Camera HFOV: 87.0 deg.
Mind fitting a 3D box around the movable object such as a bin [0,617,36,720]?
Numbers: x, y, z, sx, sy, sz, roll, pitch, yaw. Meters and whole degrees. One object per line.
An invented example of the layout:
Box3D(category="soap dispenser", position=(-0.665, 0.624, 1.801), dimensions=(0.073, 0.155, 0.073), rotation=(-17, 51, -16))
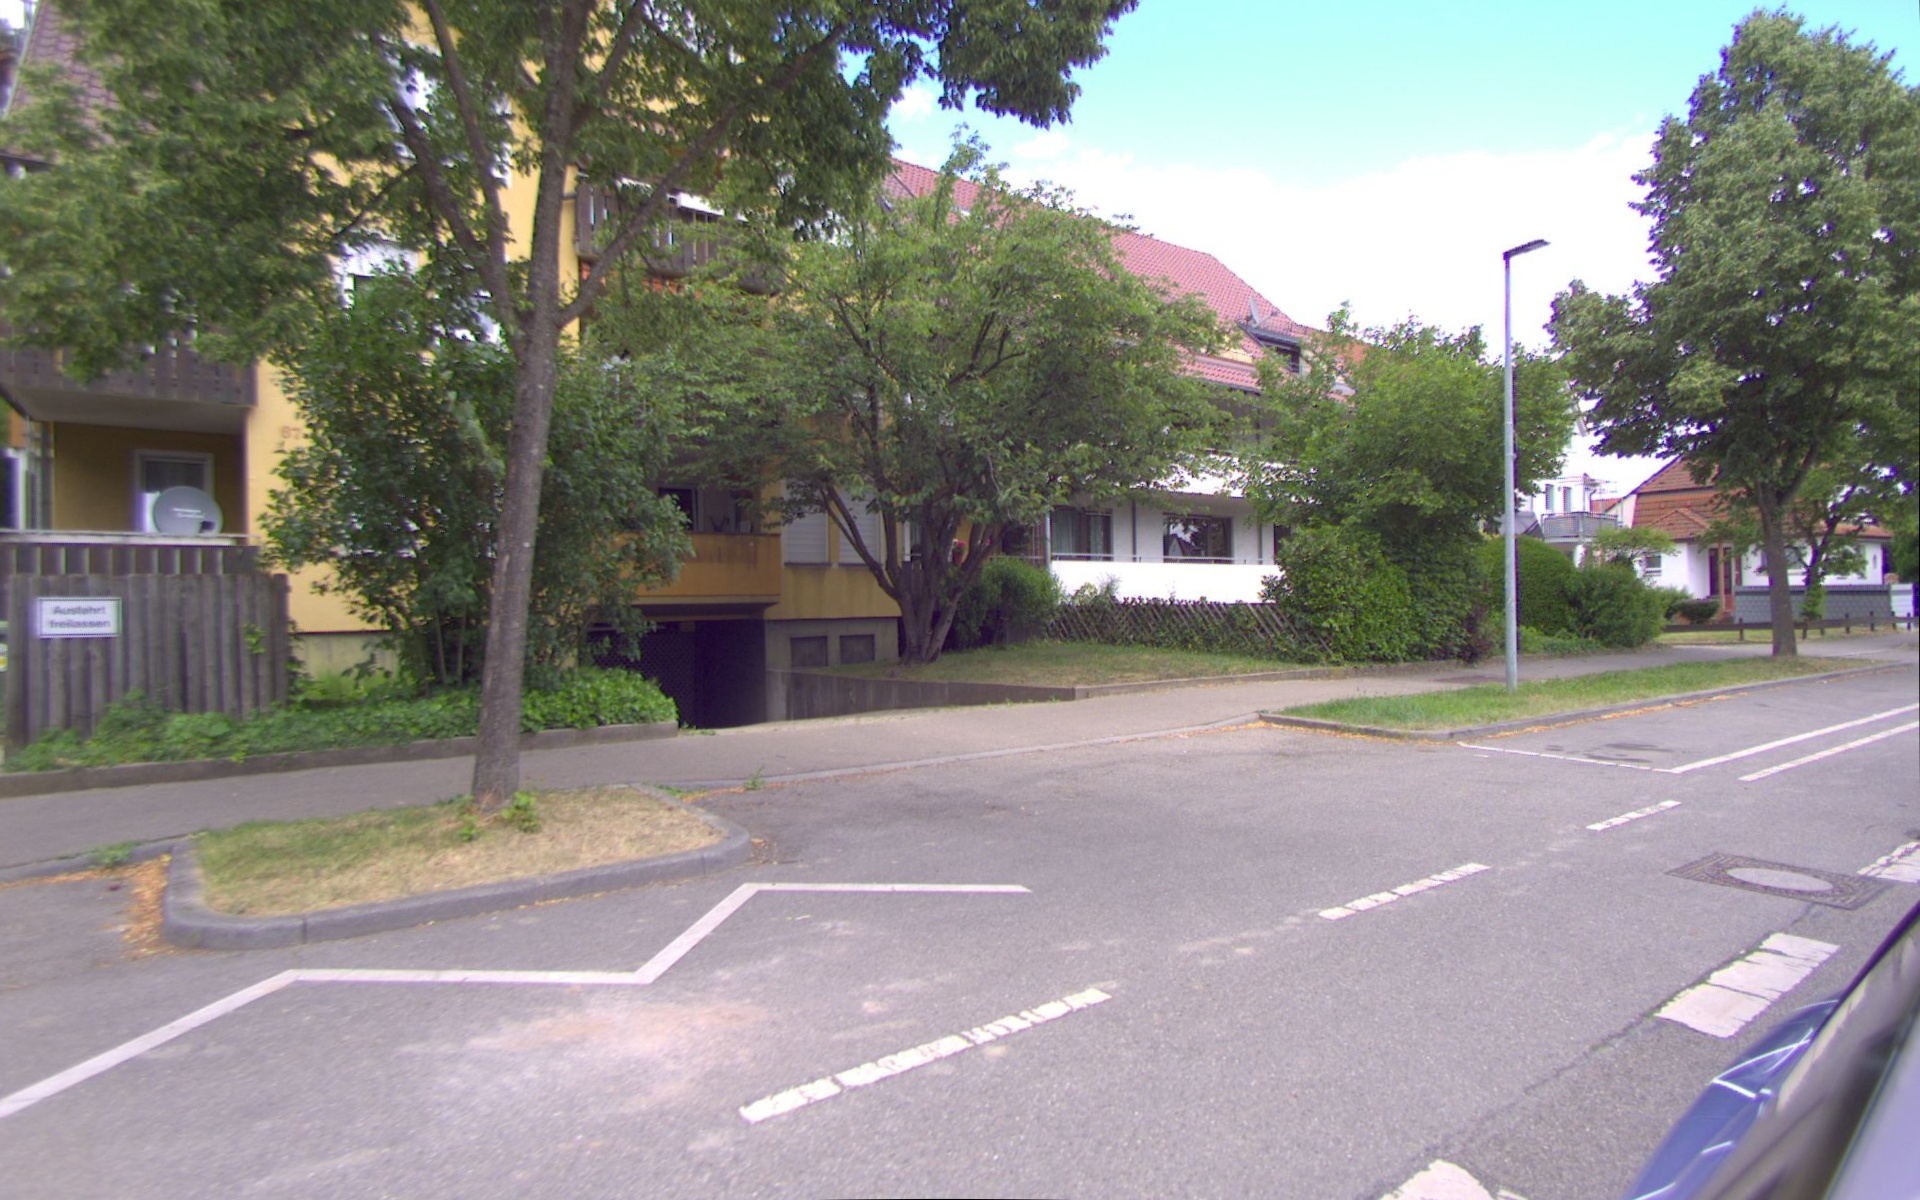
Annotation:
Box3D(category="movable object such as a bin", position=(-10.445, 0.732, 10.892), dimensions=(0.664, 1.067, 0.590), rotation=(0, 0, -35))
